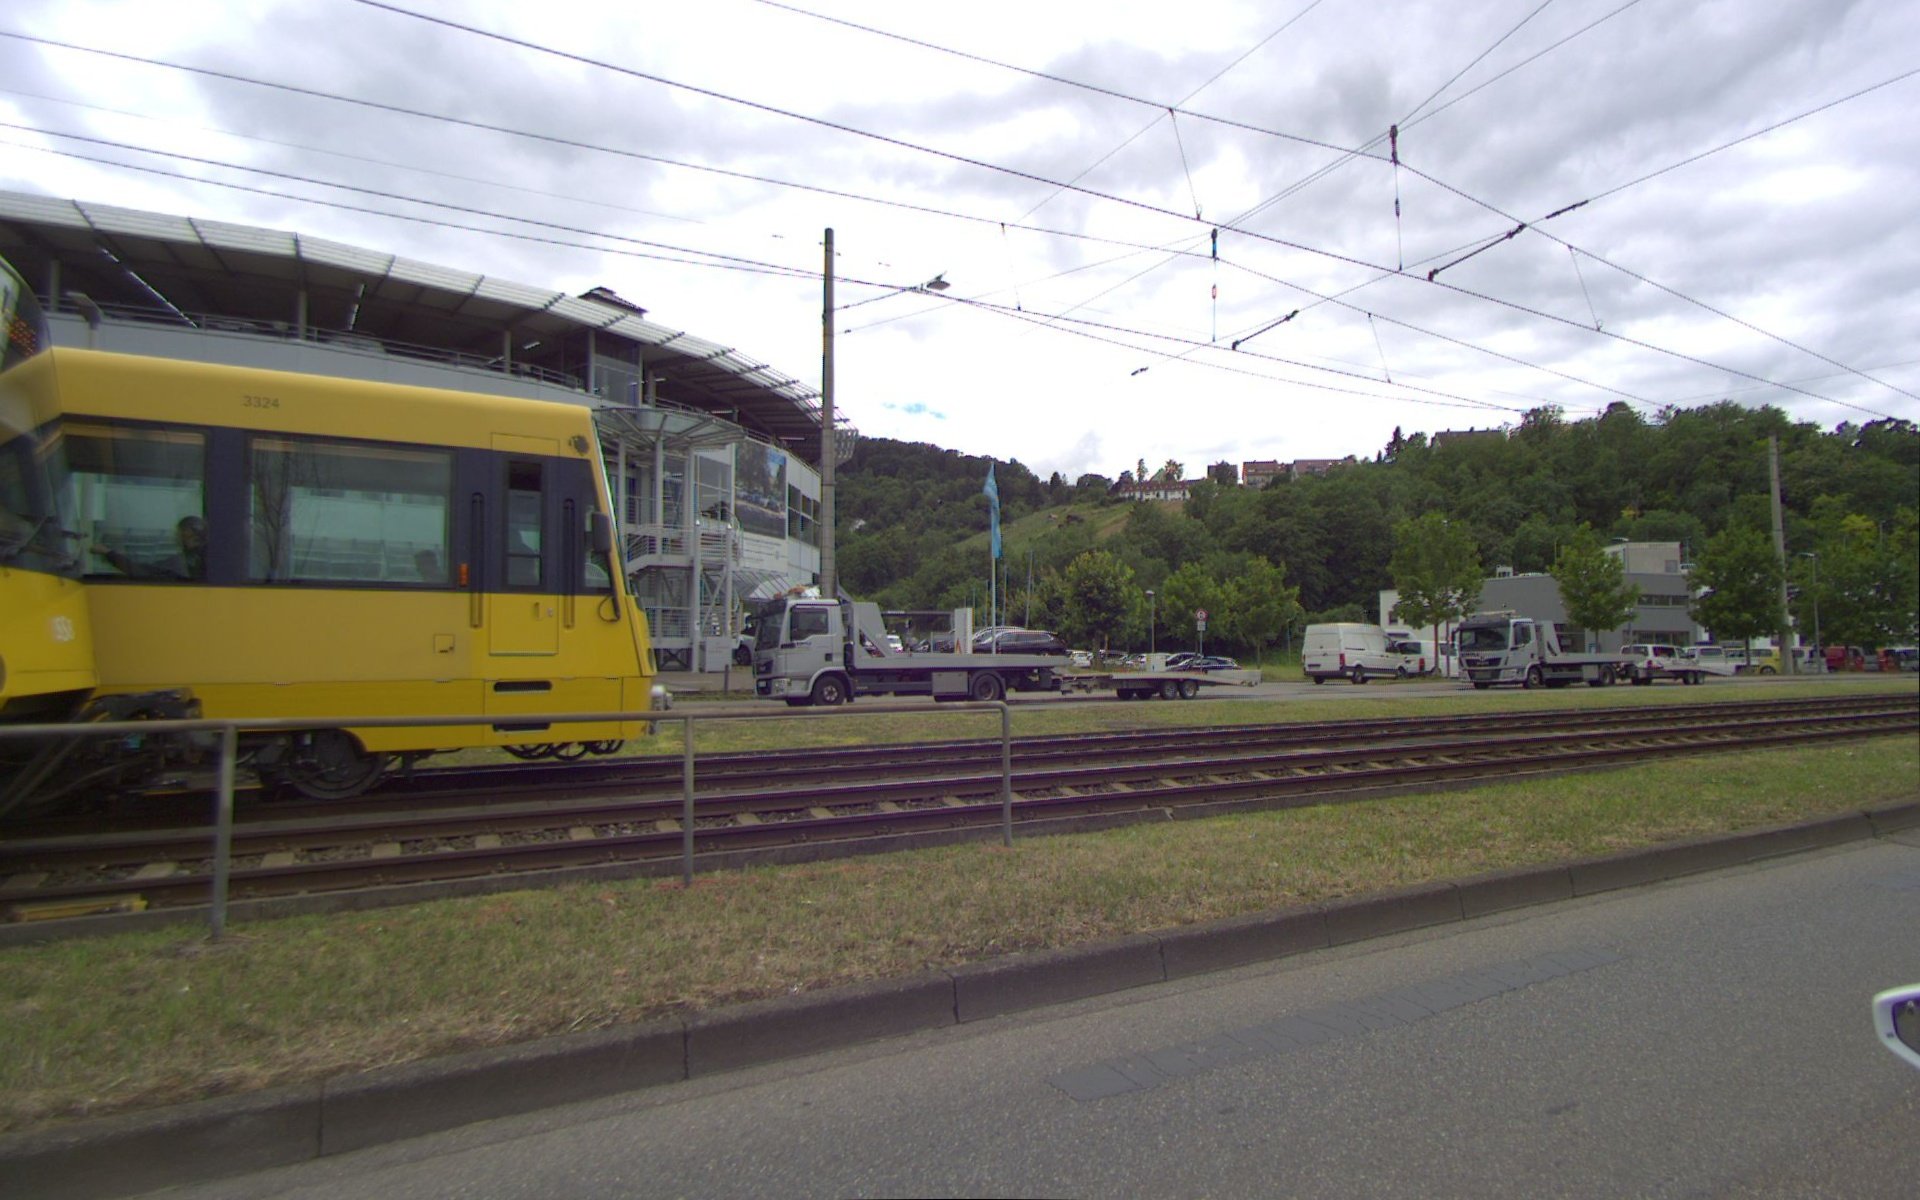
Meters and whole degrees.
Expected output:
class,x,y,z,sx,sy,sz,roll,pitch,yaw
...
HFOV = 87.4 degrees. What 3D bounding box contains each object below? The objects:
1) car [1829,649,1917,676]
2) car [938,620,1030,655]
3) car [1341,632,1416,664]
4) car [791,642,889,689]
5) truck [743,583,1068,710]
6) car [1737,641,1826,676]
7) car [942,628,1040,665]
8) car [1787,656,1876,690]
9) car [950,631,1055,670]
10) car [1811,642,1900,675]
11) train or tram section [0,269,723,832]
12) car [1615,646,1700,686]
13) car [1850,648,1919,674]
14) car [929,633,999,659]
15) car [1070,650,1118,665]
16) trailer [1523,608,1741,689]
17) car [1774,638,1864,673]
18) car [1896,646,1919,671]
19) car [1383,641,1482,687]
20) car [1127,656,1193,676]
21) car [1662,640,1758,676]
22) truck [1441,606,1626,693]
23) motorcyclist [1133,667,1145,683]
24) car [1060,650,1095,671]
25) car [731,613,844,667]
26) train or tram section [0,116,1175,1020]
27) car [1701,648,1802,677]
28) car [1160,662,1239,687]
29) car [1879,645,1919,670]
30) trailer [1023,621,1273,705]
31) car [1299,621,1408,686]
class,x,y,z,sx,sy,sz,roll,pitch,yaw
car,61.761,4.225,68.014,1.807,1.728,3.980,2,-3,-22
car,1.133,1.814,48.088,4.194,1.594,1.870,1,-2,-7
car,30.030,3.446,72.125,4.784,2.220,1.610,1,-2,-3
car,-5.169,2.804,43.161,3.941,1.794,1.991,-1,-6,41
truck,-1.184,1.181,25.024,7.928,2.775,2.275,2,-3,-30
car,52.056,3.681,63.728,1.974,2.039,3.975,5,-5,-26
car,1.367,2.110,45.426,4.194,1.594,1.870,1,-2,-7
car,57.175,4.798,65.953,1.974,2.039,3.975,5,-5,-26
car,1.765,2.149,42.566,4.194,1.594,1.870,1,-2,-7
car,59.665,3.888,67.002,1.974,2.039,3.975,5,-5,-26
train or tram section,-6.641,-0.295,7.942,9.067,3.845,1.985,2,-3,-29
car,38.823,3.694,55.909,4.553,1.922,1.987,6,-5,-27
car,63.860,4.167,68.724,1.807,1.728,3.980,0,-3,-23
car,0.236,2.863,62.535,4.194,1.594,1.870,1,-2,-7
car,11.871,5.058,89.031,3.924,1.283,1.609,1,-2,-6
trailer,27.801,2.008,41.334,10.659,3.021,2.881,2,-3,-29
car,55.190,3.567,64.608,1.974,2.039,3.975,5,-5,-26
car,68.753,4.115,70.564,1.807,1.728,3.980,0,-3,-23
car,22.510,3.036,47.820,4.202,1.900,2.148,6,-5,-27
car,13.107,4.341,65.919,3.924,1.283,1.609,1,-2,-6
car,44.506,3.487,59.713,1.963,1.922,4.608,4,-4,-6
truck,21.733,1.875,38.006,6.824,3.029,2.872,1,-3,-28
motorcyclist,10.676,4.471,59.955,0.549,0.958,0.659,1,-2,-5
car,9.168,4.745,78.757,1.892,1.549,3.997,1,-3,-7
car,-6.771,1.563,39.301,3.931,1.794,1.997,1,-6,33
train or tram section,-3.399,-0.081,6.820,10.073,4.118,2.959,1,-2,-30
car,49.314,3.887,62.652,1.975,1.594,4.579,5,-5,-27
car,13.074,4.064,54.945,3.924,1.283,1.609,1,-2,-6
car,66.536,3.977,69.488,1.807,1.728,3.980,1,-3,-23
trailer,5.473,1.797,28.798,7.230,2.155,2.282,1,-5,-30
car,17.293,2.326,44.039,5.391,2.680,1.987,2,-3,-38
